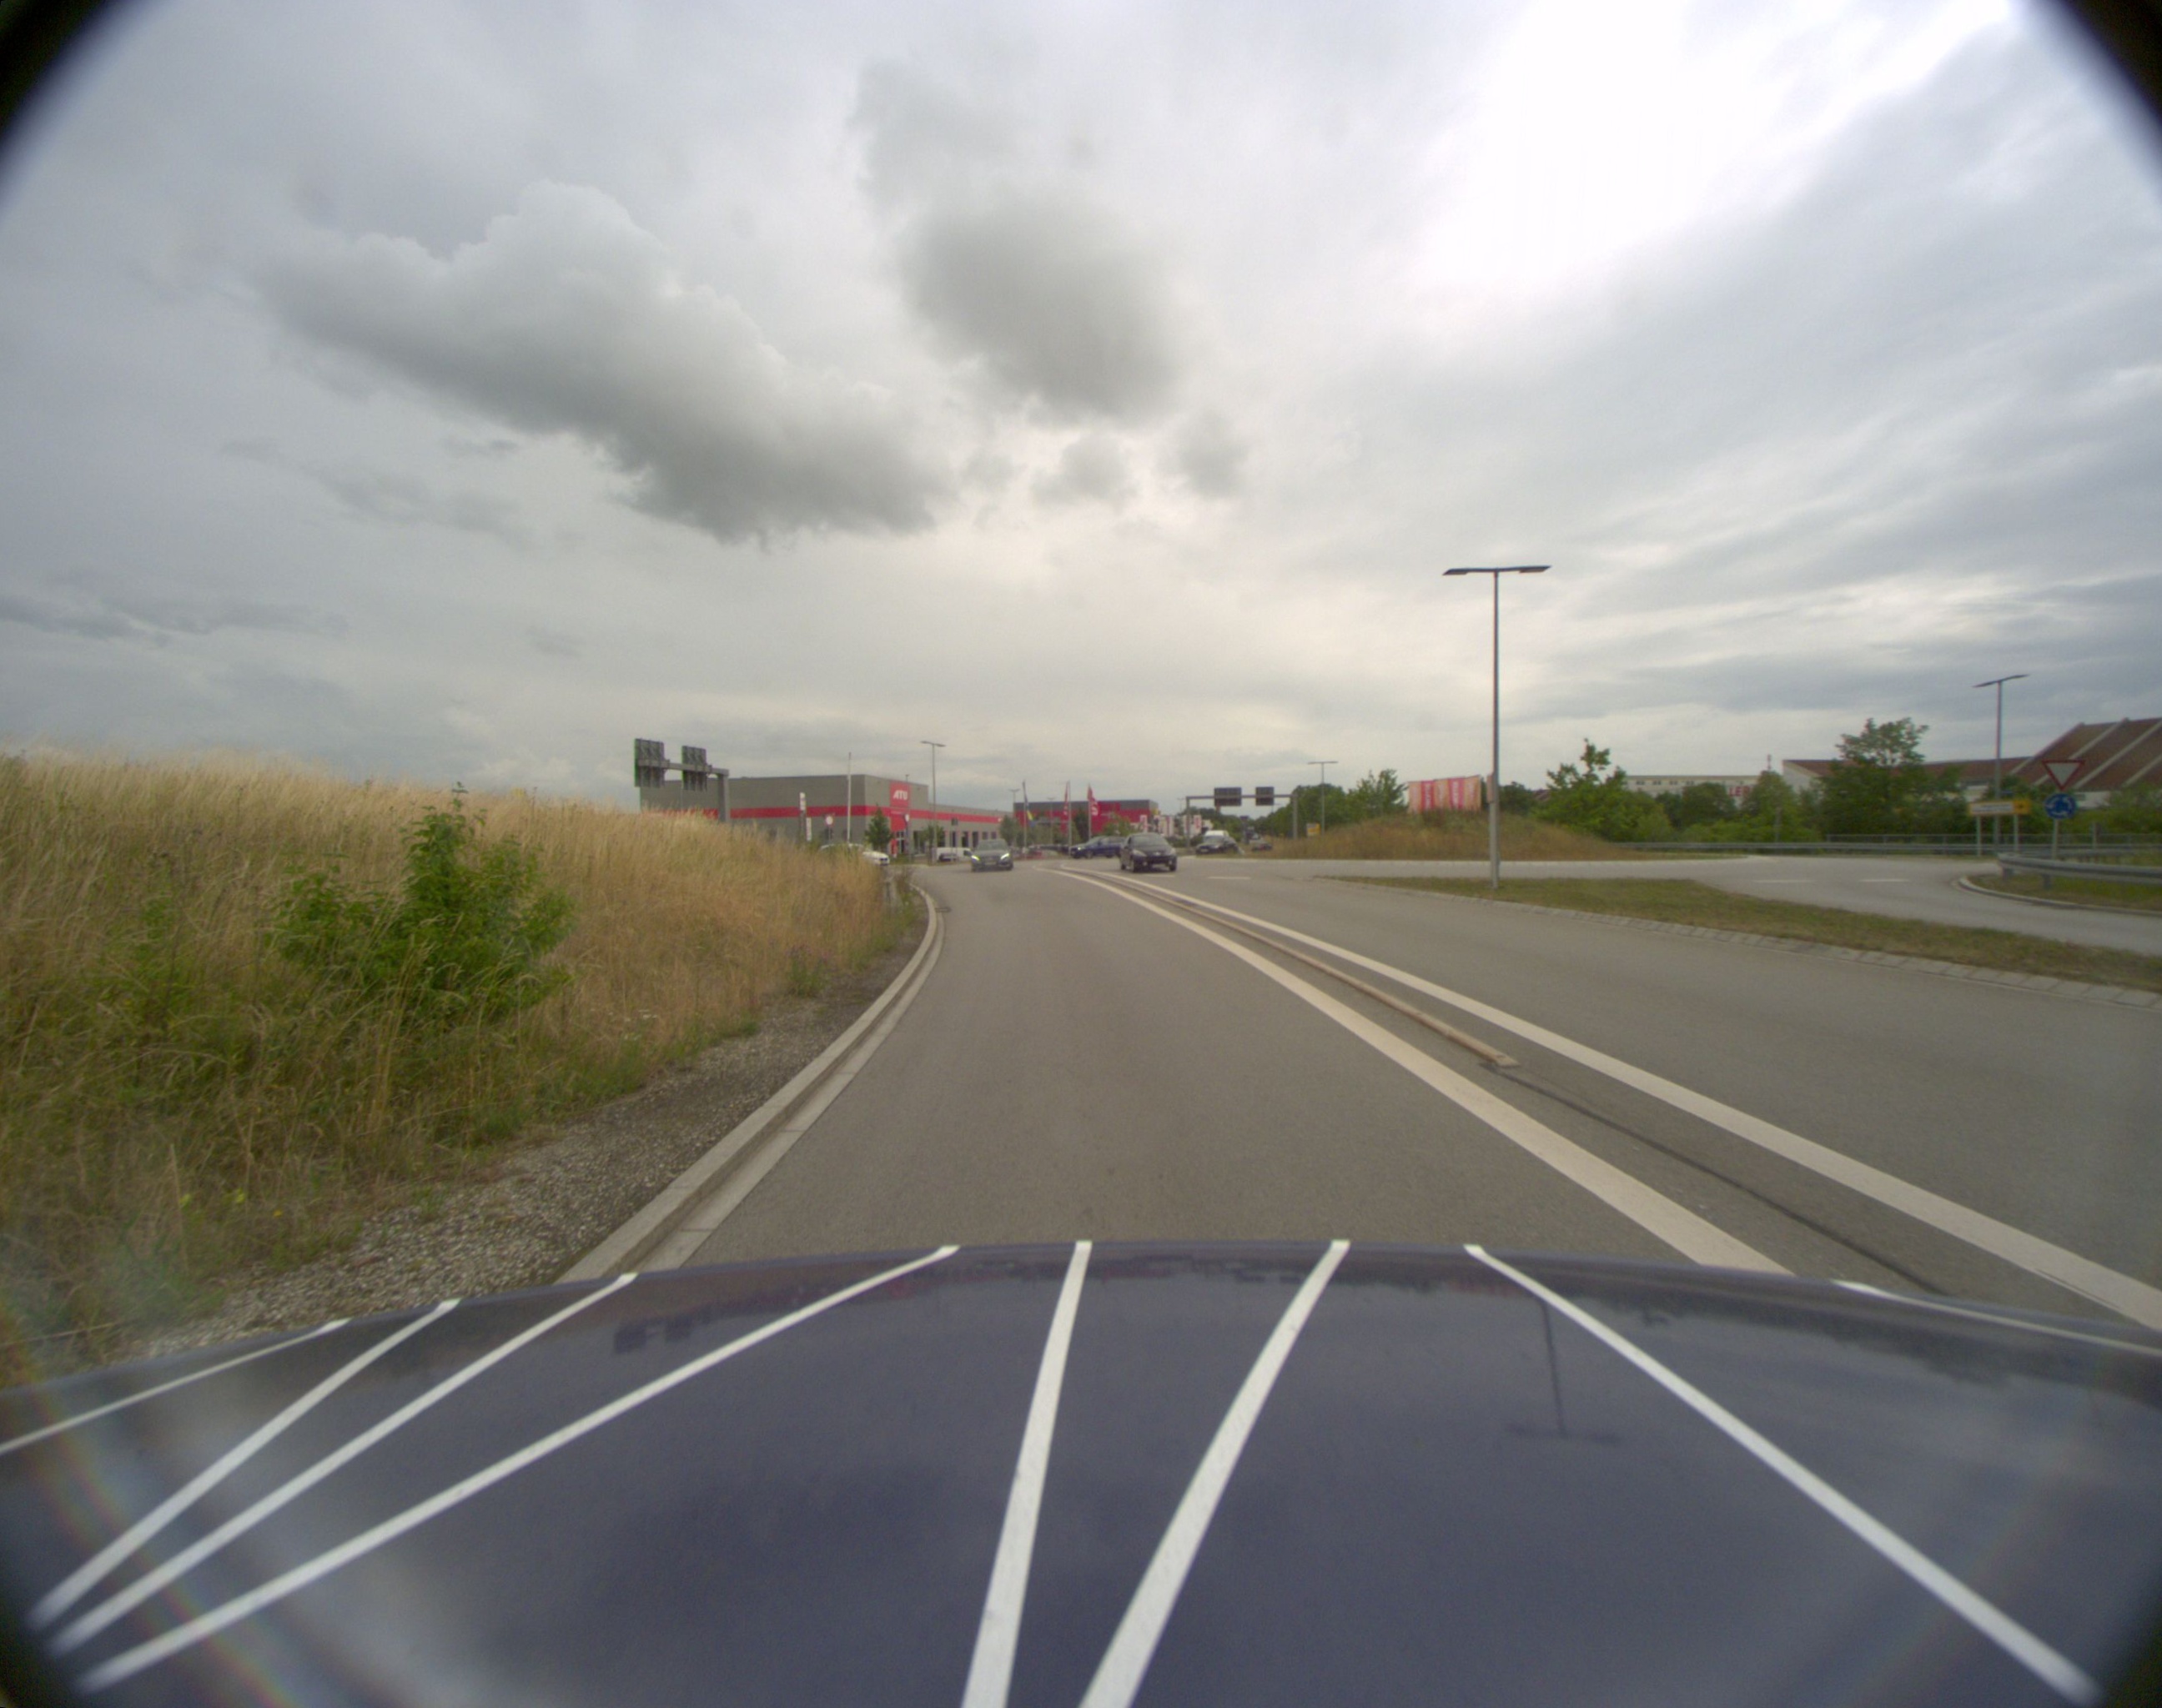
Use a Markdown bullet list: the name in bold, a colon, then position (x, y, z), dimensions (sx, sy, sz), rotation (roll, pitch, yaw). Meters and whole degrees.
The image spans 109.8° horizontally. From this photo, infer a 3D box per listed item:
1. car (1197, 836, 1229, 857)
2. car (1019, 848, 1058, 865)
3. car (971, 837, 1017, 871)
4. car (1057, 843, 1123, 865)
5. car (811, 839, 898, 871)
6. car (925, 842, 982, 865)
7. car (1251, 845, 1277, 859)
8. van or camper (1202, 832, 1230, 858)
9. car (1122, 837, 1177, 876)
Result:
- **car**: position (9.006, -0.532, 51.840), dimensions (1.577, 1.261, 3.318), rotation (-2, 2, 20)
- **car**: position (-4.391, 0.243, 78.362), dimensions (1.774, 1.571, 4.065), rotation (-4, 3, -44)
- **car**: position (-4.033, -0.011, 35.861), dimensions (1.765, 1.412, 4.089), rotation (-3, 1, -2)
- **car**: position (0.684, -0.031, 56.257), dimensions (4.563, 1.404, 1.856), rotation (-3, 2, -27)
- **car**: position (-12.566, 0.065, 42.151), dimensions (4.417, 1.620, 1.786), rotation (-1, 2, 21)
- **car**: position (-12.389, -0.028, 74.068), dimensions (5.072, 2.035, 2.001), rotation (-2, 1, 6)
- **car**: position (27.857, -0.340, 115.813), dimensions (2.105, 1.781, 5.045), rotation (-1, 3, -7)
- **van or camper**: position (13.237, -0.919, 74.041), dimensions (2.049, 2.351, 5.546), rotation (-2, 2, 16)
- **car**: position (2.637, 0.043, 29.957), dimensions (1.580, 1.346, 3.821), rotation (-2, 2, -3)
